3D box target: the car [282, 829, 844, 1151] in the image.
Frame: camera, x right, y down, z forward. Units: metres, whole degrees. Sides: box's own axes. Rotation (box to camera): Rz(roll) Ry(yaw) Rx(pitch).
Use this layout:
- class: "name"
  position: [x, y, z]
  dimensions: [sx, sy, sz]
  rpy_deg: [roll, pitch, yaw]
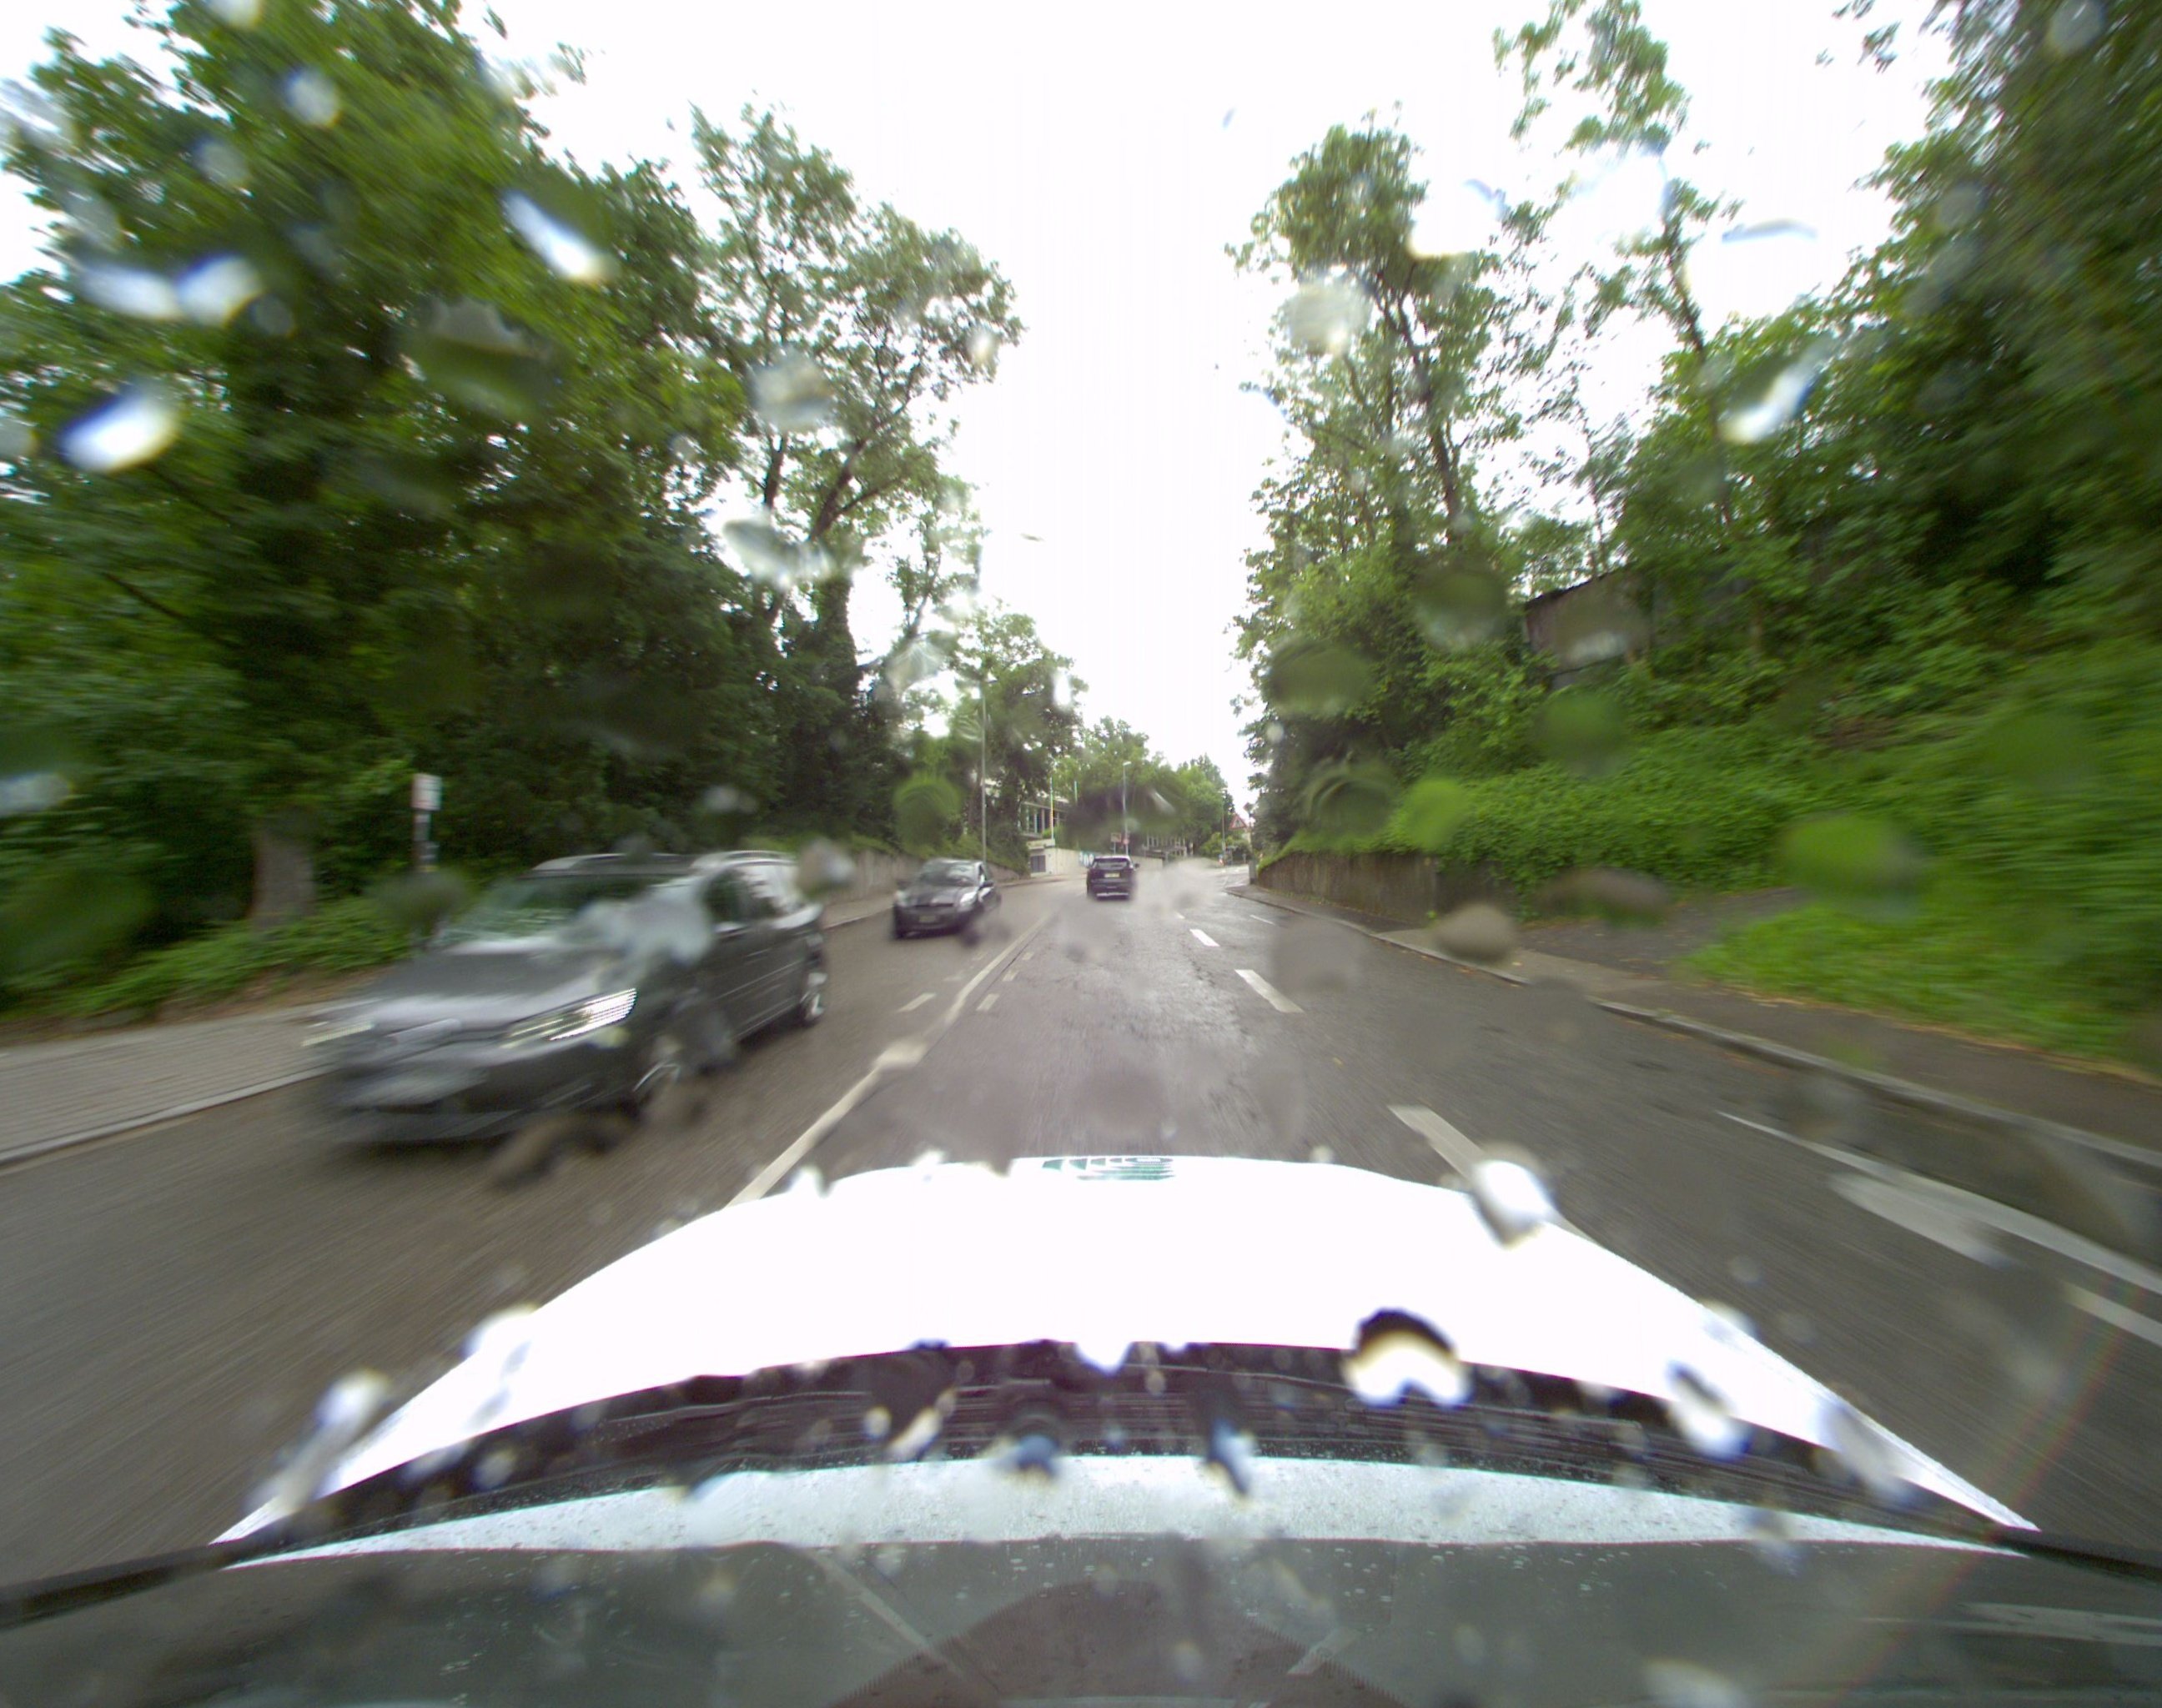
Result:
- class: "car"
  position: [-3.403, 0.736, 6.439]
  dimensions: [1.824, 1.711, 4.000]
  rpy_deg: [-1, 0, 0]

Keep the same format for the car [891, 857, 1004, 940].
- class: "car"
  position: [-2.667, 0.839, 17.009]
  dimensions: [1.669, 1.496, 3.461]
  rpy_deg: [-2, 0, 1]

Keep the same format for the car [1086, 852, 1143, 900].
- class: "car"
  position: [1.219, 0.753, 30.106]
  dimensions: [1.921, 1.613, 4.001]
  rpy_deg: [-2, 0, 2]
